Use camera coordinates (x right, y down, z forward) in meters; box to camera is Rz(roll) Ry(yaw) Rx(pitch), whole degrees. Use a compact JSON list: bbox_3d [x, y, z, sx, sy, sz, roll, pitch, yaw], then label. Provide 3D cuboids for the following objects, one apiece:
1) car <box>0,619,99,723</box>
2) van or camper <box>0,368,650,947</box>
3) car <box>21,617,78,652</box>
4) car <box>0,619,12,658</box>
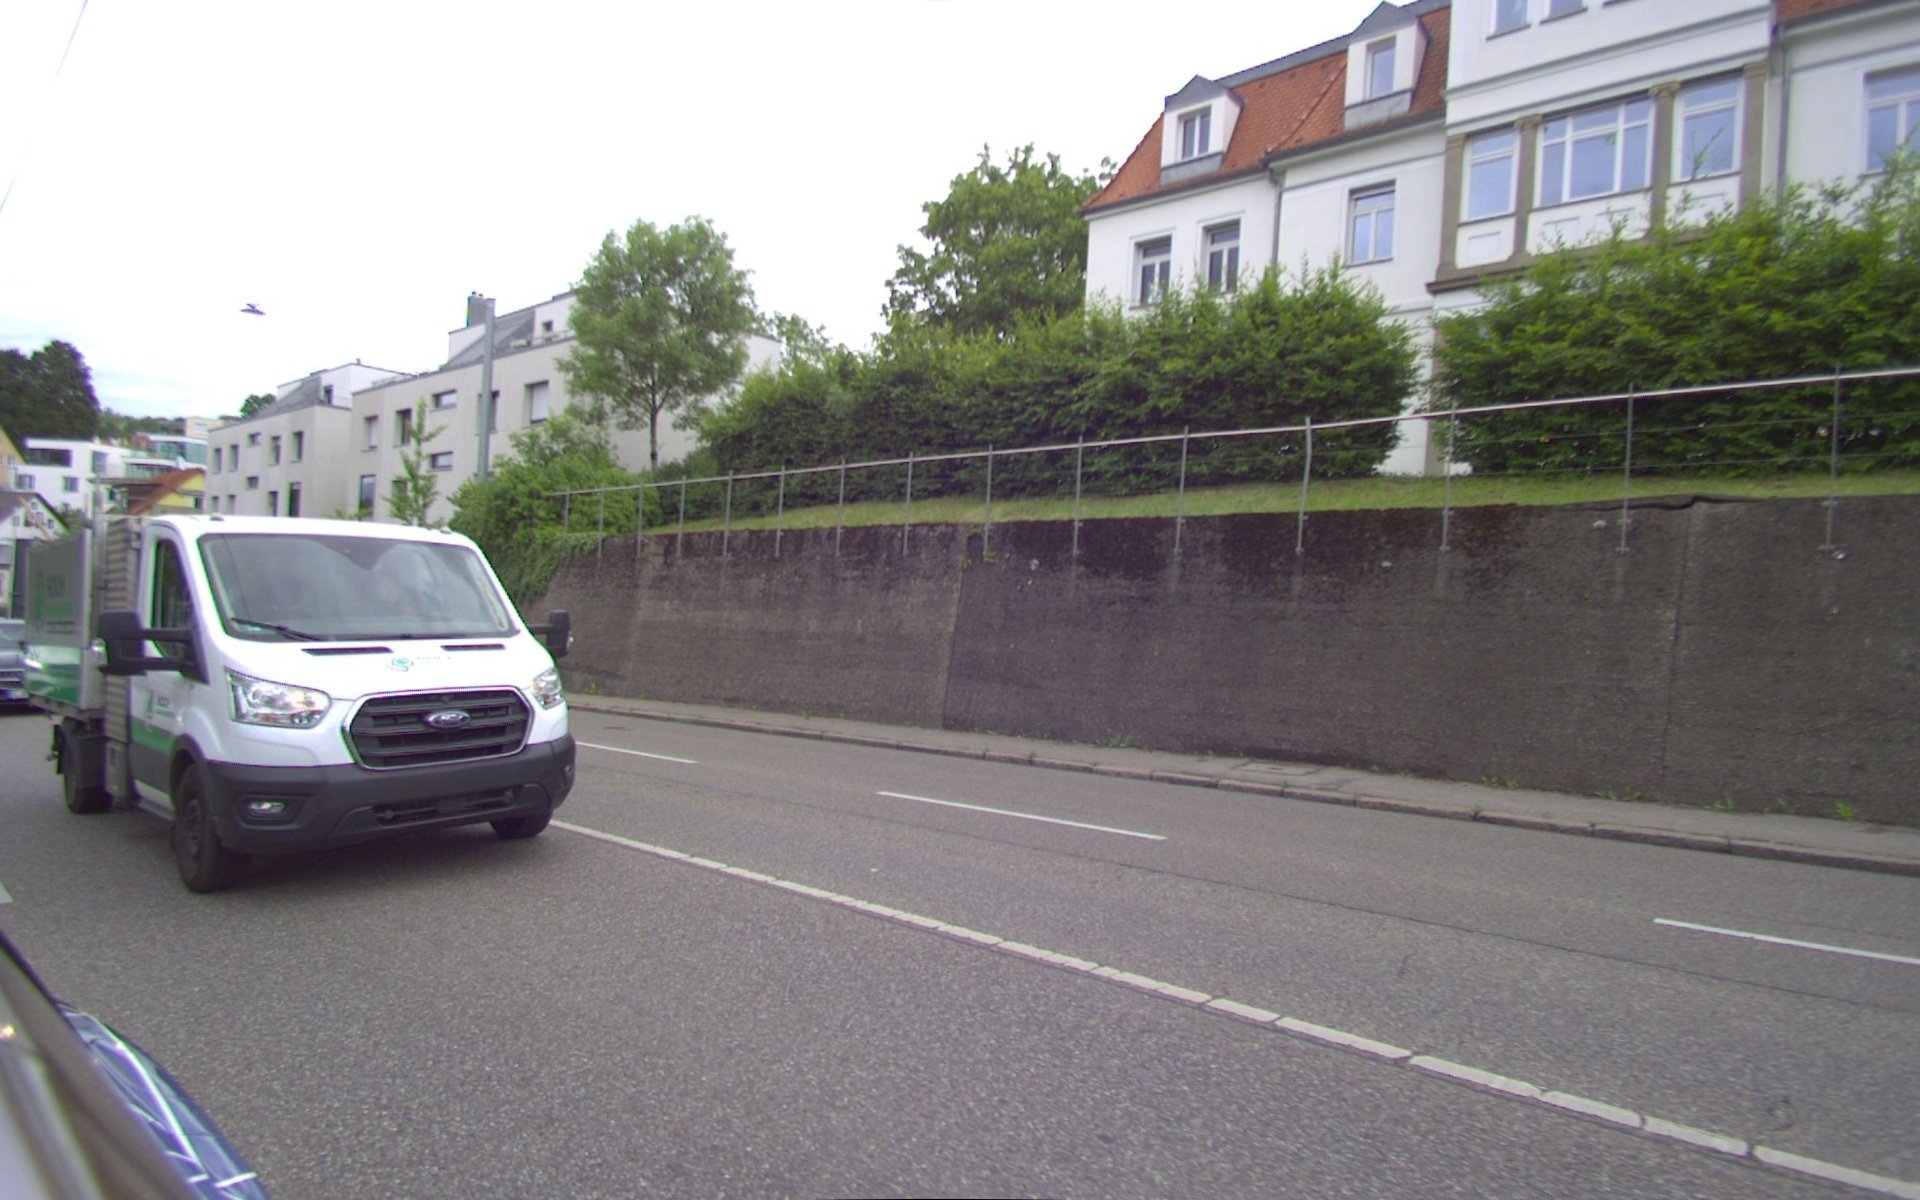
[{"bbox_3d":[-15.696,1.081,16.544,4.333,1.541,1.854,-1,-2,41],"label":"car"},{"bbox_3d":[-5.036,0.329,7.483,5.958,2.682,2.320,-2,-1,39],"label":"van or camper"},{"bbox_3d":[-46.088,1.733,51.206,3.866,1.725,1.687,-1,-3,41],"label":"car"},{"bbox_3d":[-43.769,1.709,45.211,3.866,1.725,1.687,-1,-3,41],"label":"car"}]
